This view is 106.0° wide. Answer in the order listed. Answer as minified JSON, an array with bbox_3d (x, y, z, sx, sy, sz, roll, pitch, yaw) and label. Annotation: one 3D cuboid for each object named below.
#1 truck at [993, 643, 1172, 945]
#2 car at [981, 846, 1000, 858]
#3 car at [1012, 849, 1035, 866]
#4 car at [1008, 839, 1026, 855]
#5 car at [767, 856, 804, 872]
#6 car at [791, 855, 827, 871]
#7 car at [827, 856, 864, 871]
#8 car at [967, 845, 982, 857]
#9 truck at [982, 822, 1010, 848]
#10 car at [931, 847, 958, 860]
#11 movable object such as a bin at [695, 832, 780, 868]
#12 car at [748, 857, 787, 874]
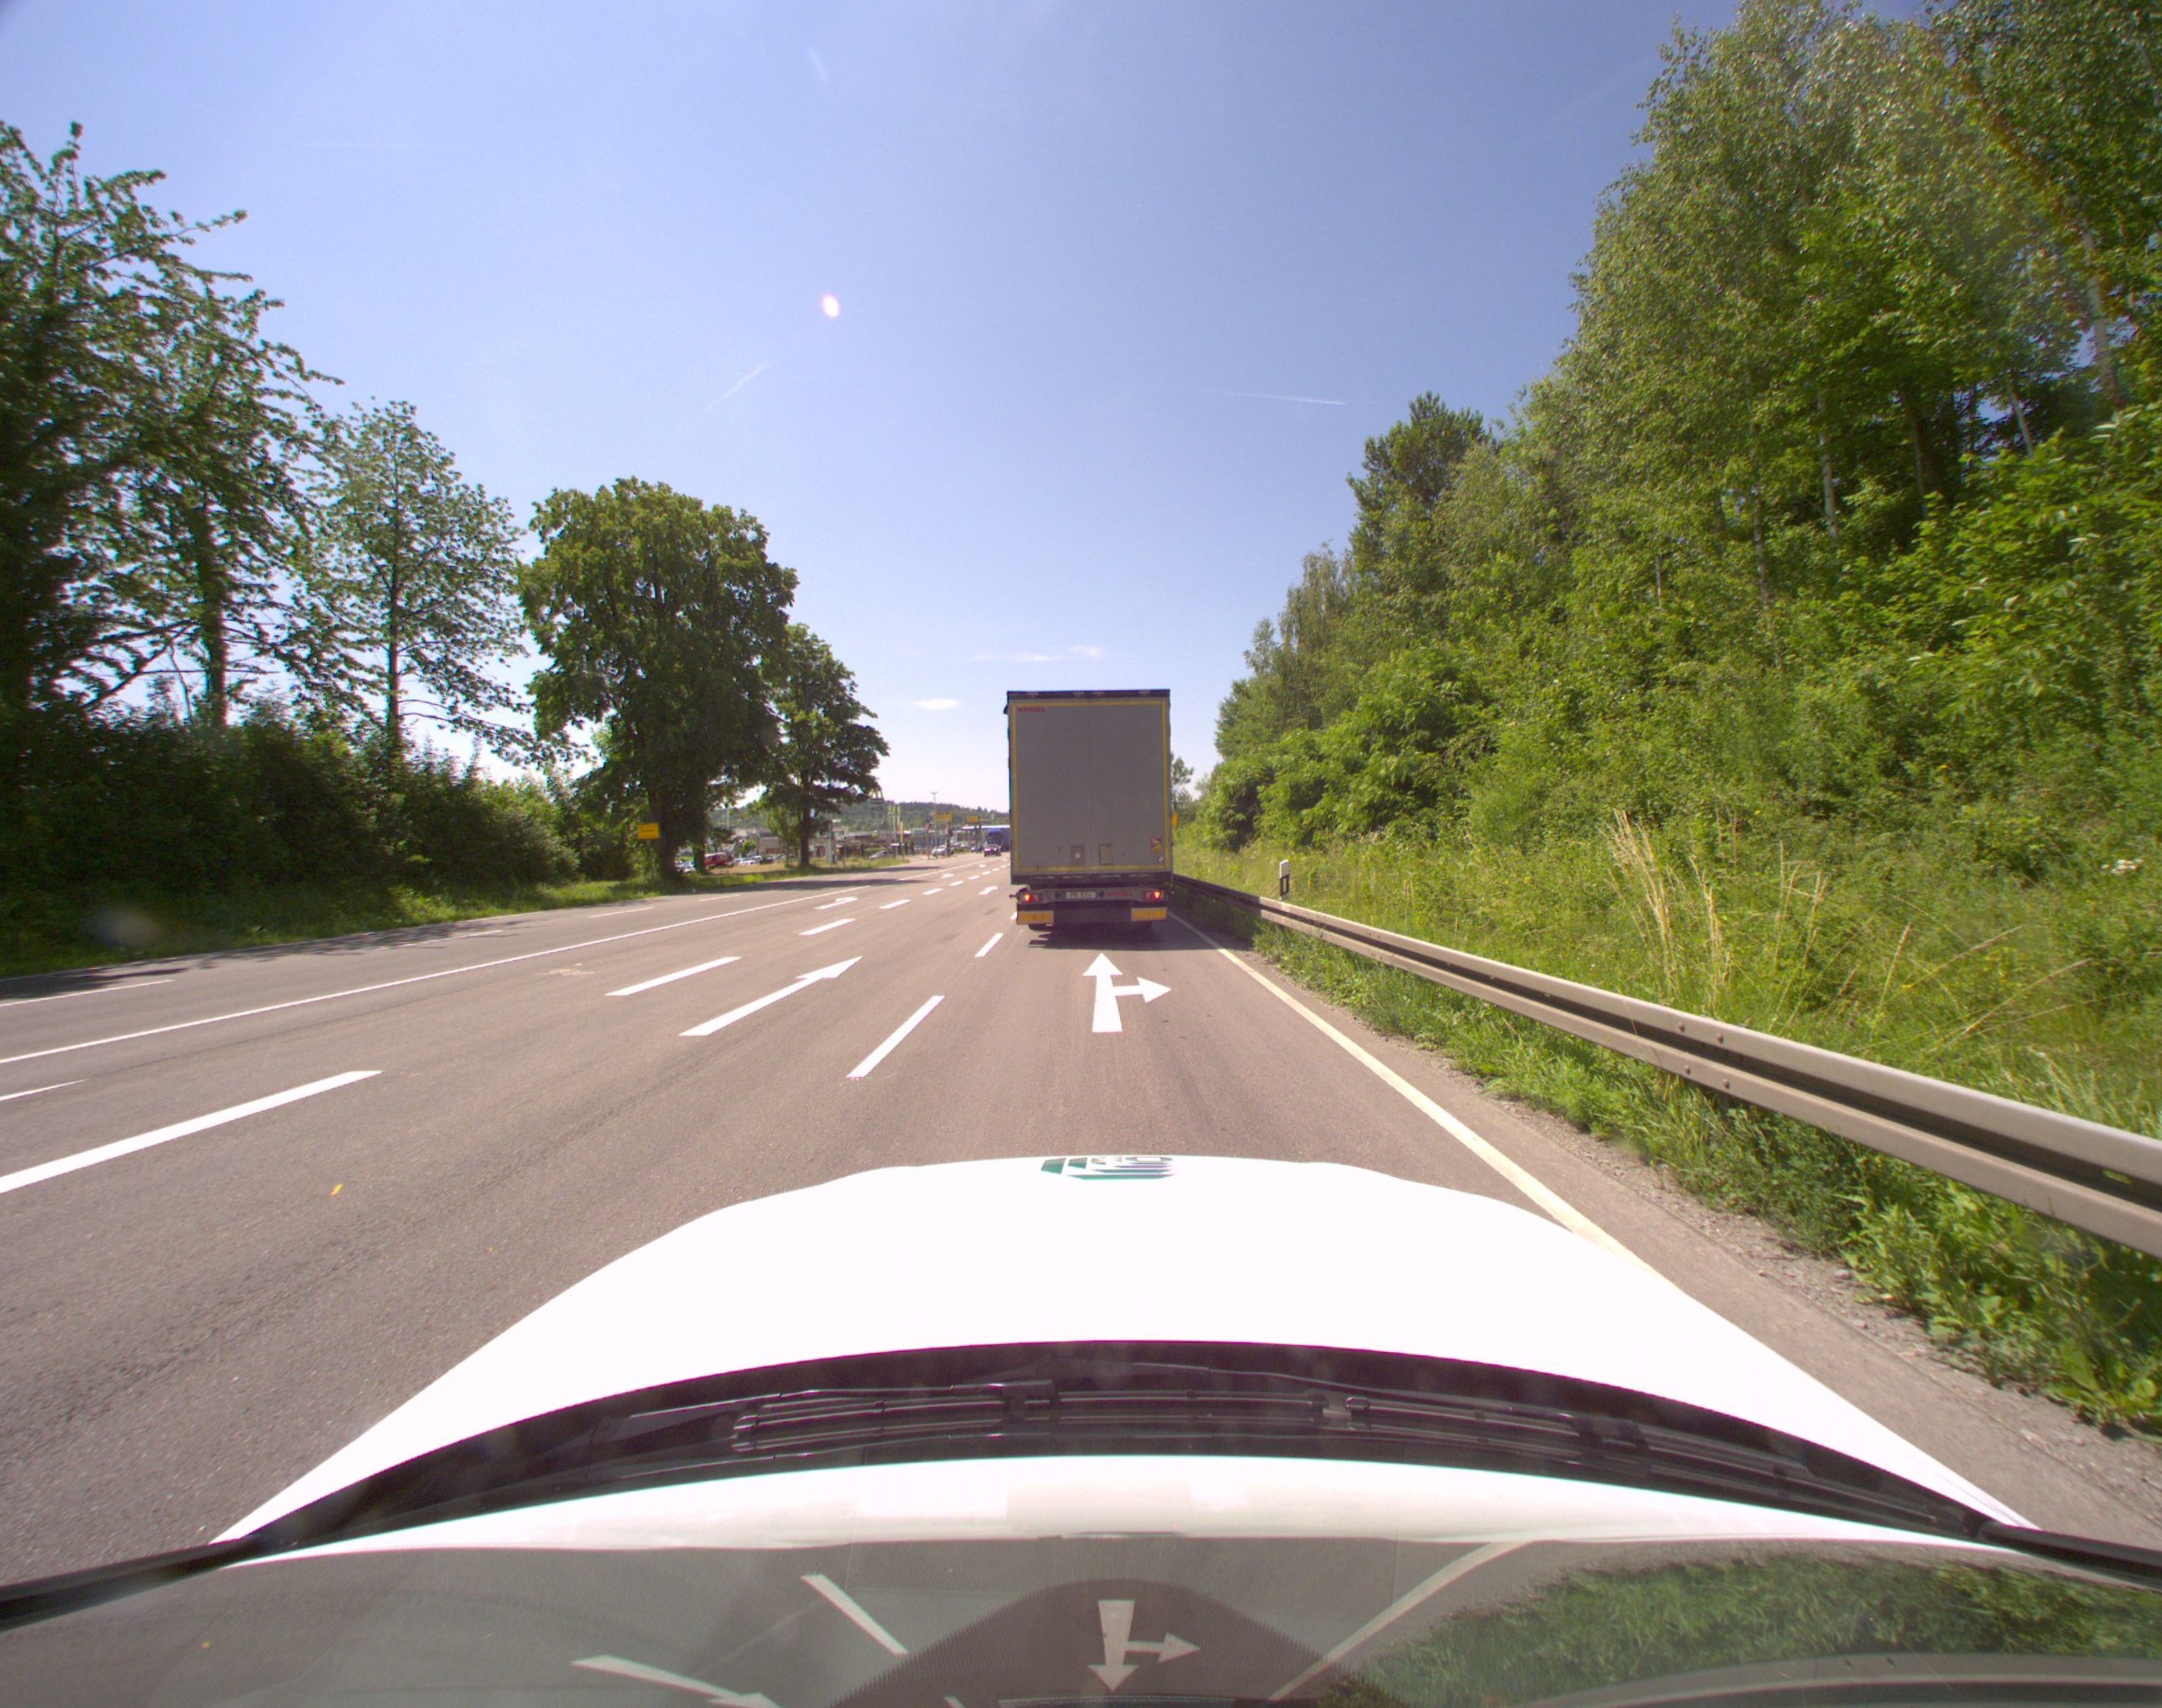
[{"bbox_3d":[0.156,-0.894,20.863,2.746,4.639,16.657,0,0,1],"label":"truck"},{"bbox_3d":[-11.438,-0.279,103.479,1.897,1.508,3.765,-1,0,1],"label":"car"},{"bbox_3d":[-4.612,0.300,65.738,1.522,1.341,3.332,0,0,3],"label":"car"},{"bbox_3d":[-8.138,-0.914,104.601,1.987,2.013,3.999,0,0,0],"label":"car"},{"bbox_3d":[-31.649,1.057,87.275,3.948,1.618,1.852,-1,0,37],"label":"car"},{"bbox_3d":[-29.869,0.993,89.426,3.948,1.618,1.852,-1,0,37],"label":"car"},{"bbox_3d":[-26.287,1.093,90.852,3.948,1.618,1.852,-1,0,37],"label":"car"},{"bbox_3d":[-18.801,-0.550,144.254,1.986,2.013,4.001,-1,0,1],"label":"car"},{"bbox_3d":[-14.540,-3.189,141.125,2.959,4.176,16.572,-2,0,0],"label":"truck"},{"bbox_3d":[-21.846,-0.152,130.089,1.974,2.013,4.026,-1,1,36],"label":"car"},{"bbox_3d":[-32.690,-0.429,77.717,3.013,3.298,6.835,-1,1,40],"label":"movable object such as a bin"},{"bbox_3d":[-32.897,1.179,85.400,3.948,1.651,2.013,-1,0,37],"label":"car"}]
